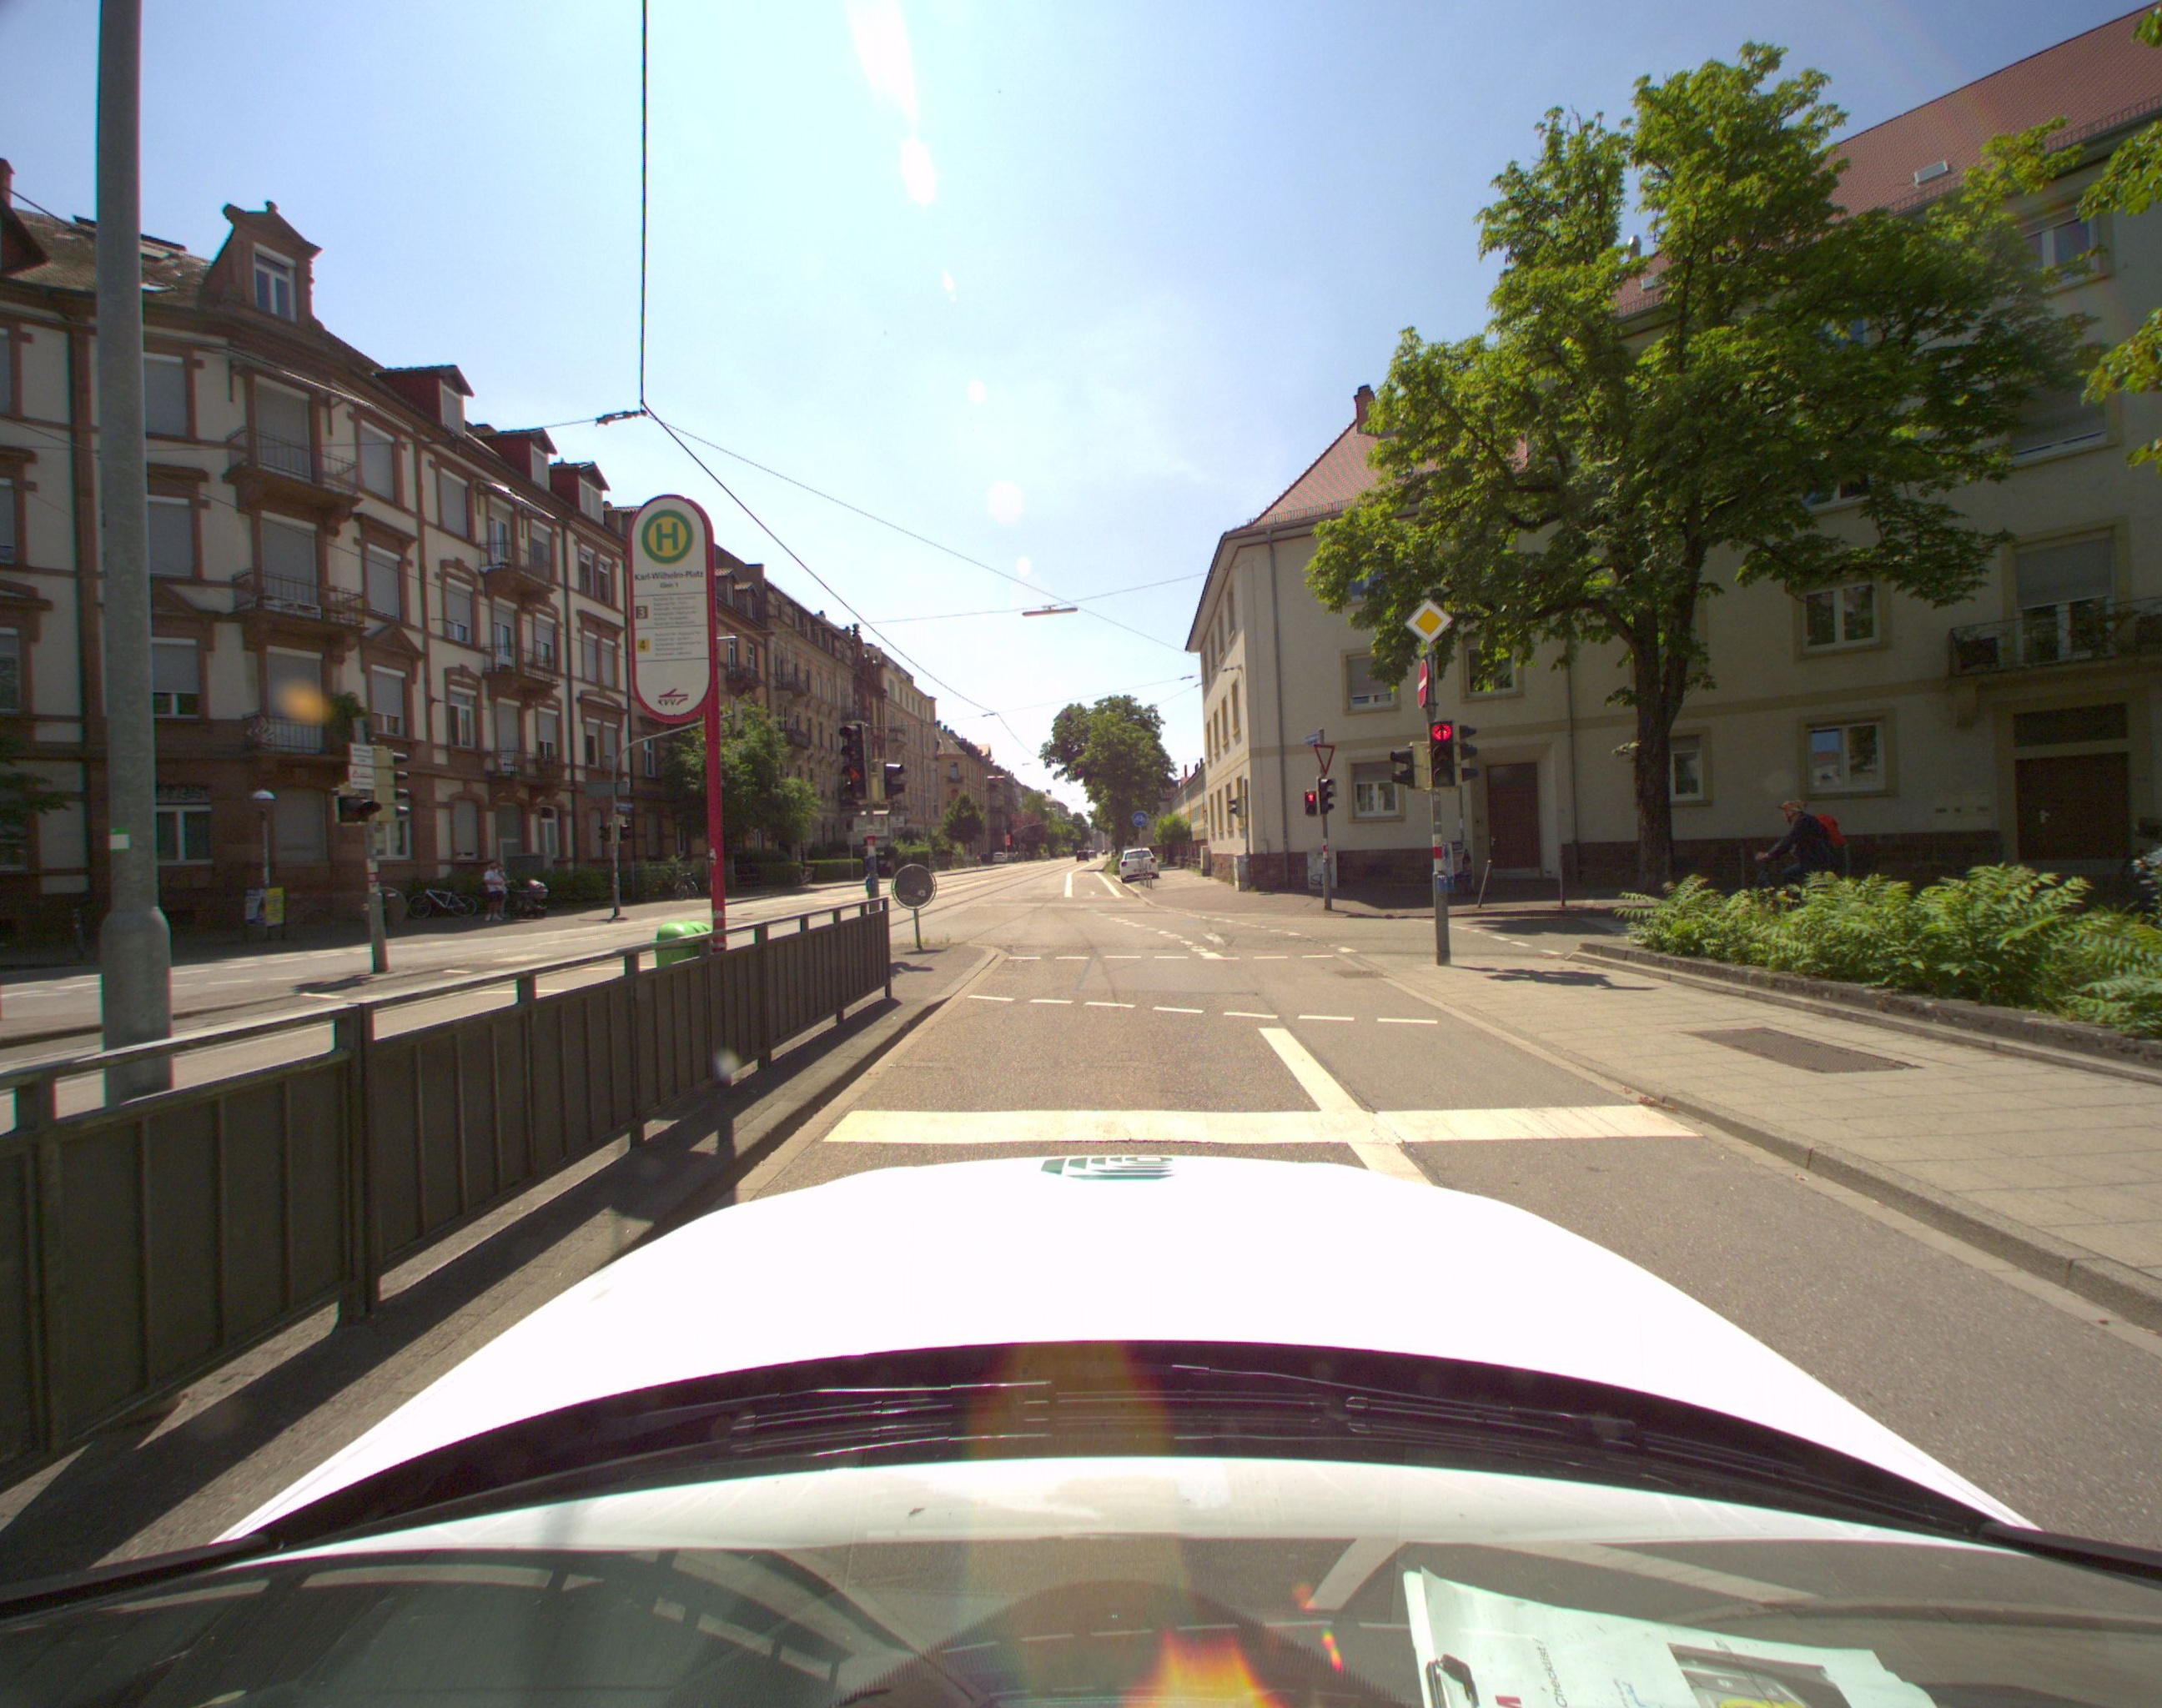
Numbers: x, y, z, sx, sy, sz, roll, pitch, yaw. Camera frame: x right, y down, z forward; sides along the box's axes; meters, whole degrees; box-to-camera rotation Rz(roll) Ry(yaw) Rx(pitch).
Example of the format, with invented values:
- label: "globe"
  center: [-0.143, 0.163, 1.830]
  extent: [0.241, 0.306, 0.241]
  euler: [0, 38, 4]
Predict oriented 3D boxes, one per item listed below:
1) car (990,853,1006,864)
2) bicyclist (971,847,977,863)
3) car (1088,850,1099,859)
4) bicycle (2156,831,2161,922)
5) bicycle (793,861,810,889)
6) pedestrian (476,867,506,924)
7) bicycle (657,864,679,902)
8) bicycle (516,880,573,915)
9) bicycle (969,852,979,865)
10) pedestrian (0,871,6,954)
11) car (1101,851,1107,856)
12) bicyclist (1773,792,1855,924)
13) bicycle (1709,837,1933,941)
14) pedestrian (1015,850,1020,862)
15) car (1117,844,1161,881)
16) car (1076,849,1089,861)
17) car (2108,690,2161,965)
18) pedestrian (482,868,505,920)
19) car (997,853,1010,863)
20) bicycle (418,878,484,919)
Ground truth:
- label: "car"
  center: [-11.817, 0.614, 116.381]
  extent: [1.679, 1.472, 3.937]
  euler: [-5, 0, 0]
- label: "bicyclist"
  center: [-11.539, 0.125, 87.801]
  extent: [0.540, 1.763, 0.498]
  euler: [-1, 0, 1]
- label: "car"
  center: [2.282, 0.113, 150.472]
  extent: [1.741, 1.472, 3.940]
  euler: [-5, 0, 2]
- label: "bicycle"
  center: [7.361, 0.388, 4.793]
  extent: [0.331, 1.127, 1.288]
  euler: [-1, -2, 2]
- label: "bicycle"
  center: [-14.362, 1.068, 41.820]
  extent: [0.594, 1.356, 2.421]
  euler: [-1, 0, -24]
- label: "pedestrian"
  center: [-17.110, 1.189, 23.616]
  extent: [0.657, 1.615, 0.464]
  euler: [-1, 2, -40]
- label: "bicycle"
  center: [-15.951, 1.097, 31.450]
  extent: [0.617, 1.395, 2.289]
  euler: [-1, 0, -24]
- label: "bicycle"
  center: [-16.213, 1.301, 24.609]
  extent: [1.410, 1.013, 0.384]
  euler: [1, -2, -38]
- label: "bicycle"
  center: [-11.523, 0.498, 87.774]
  extent: [0.575, 1.388, 2.502]
  euler: [-1, 0, 2]
- label: "pedestrian"
  center: [-24.036, 1.294, 17.676]
  extent: [0.565, 1.825, 0.631]
  euler: [-1, -1, -20]
- label: "car"
  center: [6.844, -0.207, 243.921]
  extent: [1.623, 1.472, 3.563]
  euler: [-5, 0, 0]
- label: "bicyclist"
  center: [9.466, 0.054, 10.546]
  extent: [0.687, 1.646, 0.584]
  euler: [-2, -1, 36]
- label: "bicycle"
  center: [9.477, 0.441, 10.553]
  extent: [2.060, 1.236, 0.584]
  euler: [-2, -1, 35]
- label: "pedestrian"
  center: [-9.169, 0.335, 117.470]
  extent: [0.675, 1.727, 0.678]
  euler: [-1, 0, 1]
- label: "car"
  center: [2.621, 0.375, 37.742]
  extent: [1.741, 1.472, 3.940]
  euler: [-5, 0, 2]
- label: "car"
  center: [0.214, 0.119, 109.274]
  extent: [1.519, 1.444, 3.367]
  euler: [-4, 0, 3]
- label: "car"
  center: [12.557, -0.318, 6.217]
  extent: [2.009, 2.590, 5.784]
  euler: [-1, 0, -37]
- label: "pedestrian"
  center: [-17.449, 1.178, 24.175]
  extent: [0.510, 1.516, 0.464]
  euler: [-1, -1, -40]
- label: "car"
  center: [-11.851, 0.614, 124.905]
  extent: [1.623, 1.472, 3.563]
  euler: [-5, 0, 0]
- label: "bicycle"
  center: [-19.166, 1.332, 24.799]
  extent: [1.522, 1.169, 0.362]
  euler: [-1, 1, -25]
